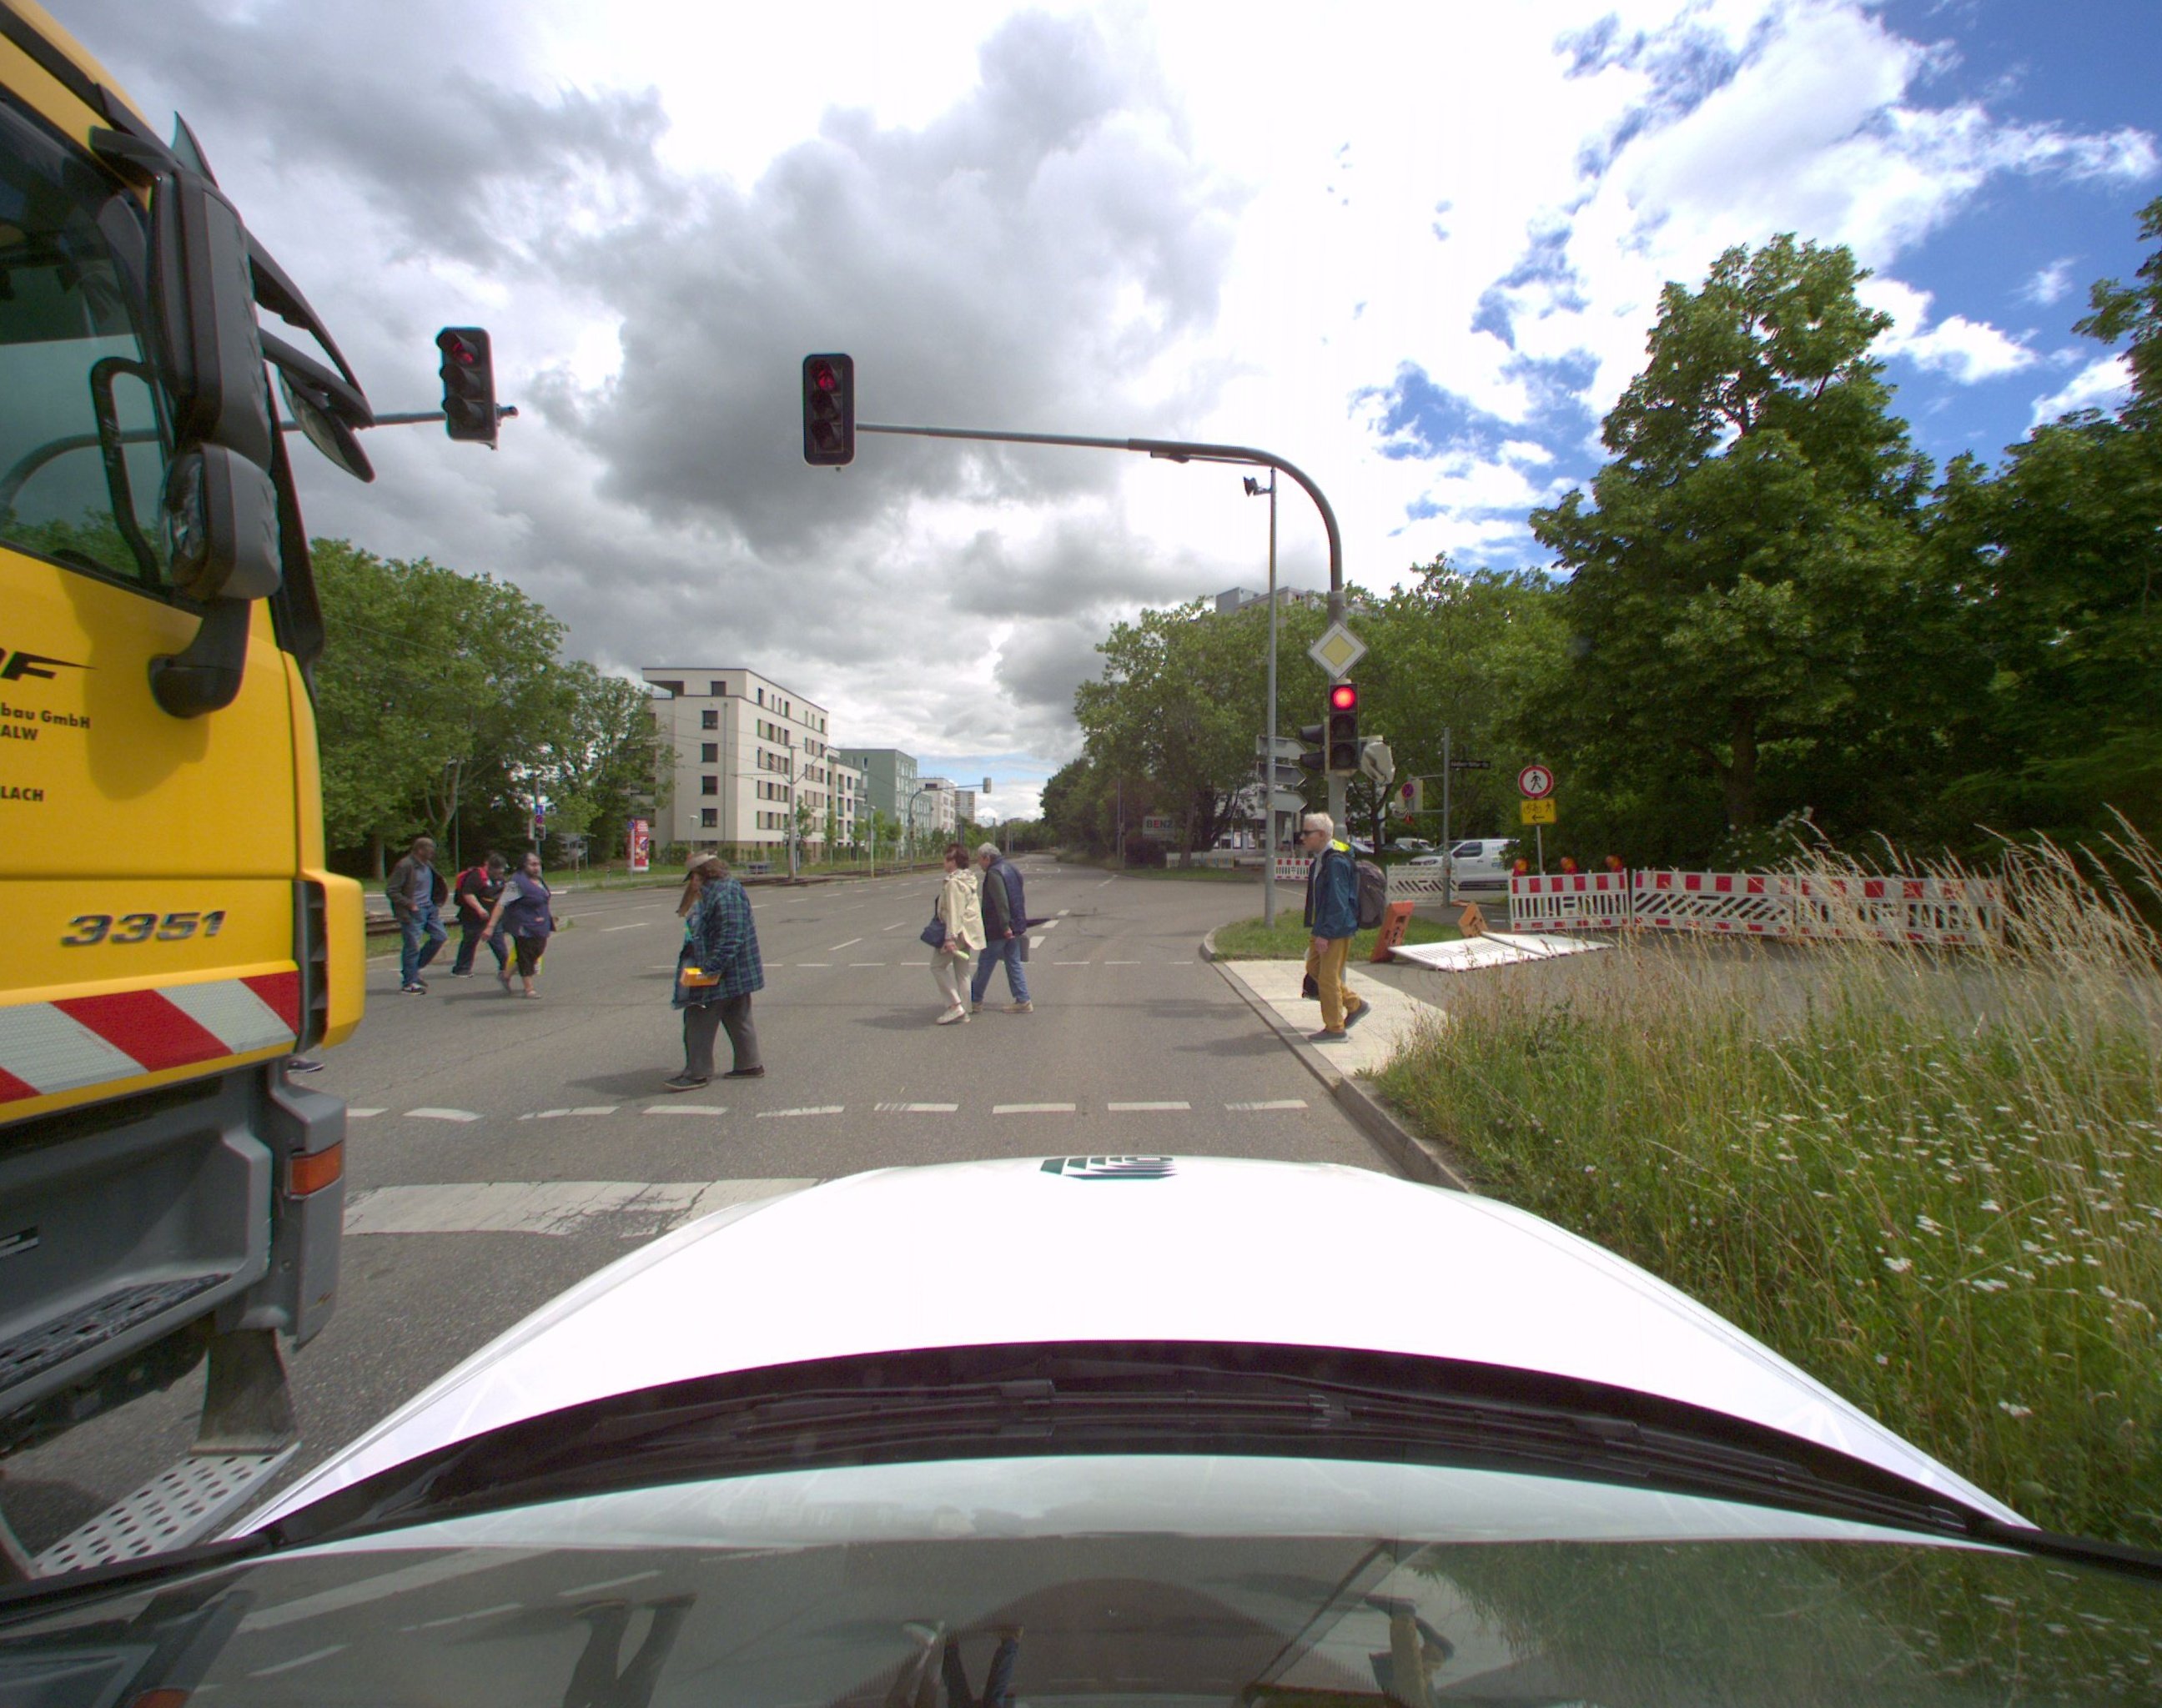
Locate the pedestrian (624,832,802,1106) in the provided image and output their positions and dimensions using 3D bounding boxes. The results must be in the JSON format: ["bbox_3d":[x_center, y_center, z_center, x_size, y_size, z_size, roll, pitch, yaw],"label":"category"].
[{"bbox_3d":[-2.380,0.701,5.359,0.820,1.671,0.733,-1,0,-1],"label":"pedestrian"}]

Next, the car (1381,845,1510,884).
[{"bbox_3d":[14.995,0.413,33.702,4.461,1.486,1.989,-1,0,0],"label":"car"}]

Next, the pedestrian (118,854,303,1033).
[{"bbox_3d":[-7.976,0.786,7.502,0.877,1.554,0.747,-1,0,2],"label":"pedestrian"}]

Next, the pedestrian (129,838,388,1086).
[{"bbox_3d":[-5.889,0.722,5.897,0.955,1.648,0.881,-1,0,2],"label":"pedestrian"}]

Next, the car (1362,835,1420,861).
[{"bbox_3d":[24.600,-0.498,64.739,2.006,2.013,3.962,-1,0,-29],"label":"car"}]

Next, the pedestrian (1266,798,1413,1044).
[{"bbox_3d":[1.997,0.485,6.449,1.003,1.774,0.952,-1,0,12],"label":"pedestrian"}]

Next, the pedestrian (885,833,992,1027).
[{"bbox_3d":[-1.252,0.642,7.278,0.820,1.640,0.733,-1,0,-2],"label":"pedestrian"}]

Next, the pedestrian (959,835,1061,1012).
[{"bbox_3d":[-0.671,0.642,7.921,0.865,1.634,0.766,-1,0,3],"label":"pedestrian"}]

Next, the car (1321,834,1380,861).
[{"bbox_3d":[20.569,-0.490,62.257,2.006,2.013,3.962,-1,0,-29],"label":"car"}]

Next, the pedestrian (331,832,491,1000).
[{"bbox_3d":[-7.472,0.657,9.138,0.998,1.773,0.930,-1,0,2],"label":"pedestrian"}]

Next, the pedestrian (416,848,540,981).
[{"bbox_3d":[-7.648,0.733,10.375,0.890,1.596,0.907,-1,0,-2],"label":"pedestrian"}]

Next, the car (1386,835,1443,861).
[{"bbox_3d":[27.315,-0.502,66.872,2.006,2.013,3.962,-1,0,-29],"label":"car"}]

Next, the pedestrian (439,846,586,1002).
[{"bbox_3d":[-6.148,0.721,8.862,0.909,1.607,0.930,-1,0,2],"label":"pedestrian"}]

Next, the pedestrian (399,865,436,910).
[{"bbox_3d":[-25.244,1.249,30.994,1.075,1.648,0.700,-1,0,-41],"label":"pedestrian"}]

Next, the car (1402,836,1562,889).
[{"bbox_3d":[14.920,0.297,30.462,5.063,1.874,1.947,-1,0,-2],"label":"car"}]

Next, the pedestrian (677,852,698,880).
[{"bbox_3d":[-21.743,0.676,45.039,0.827,1.516,0.636,-1,0,1],"label":"pedestrian"}]

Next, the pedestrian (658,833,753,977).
[{"bbox_3d":[-4.738,0.622,10.326,0.779,1.742,0.829,-1,0,2],"label":"pedestrian"}]
